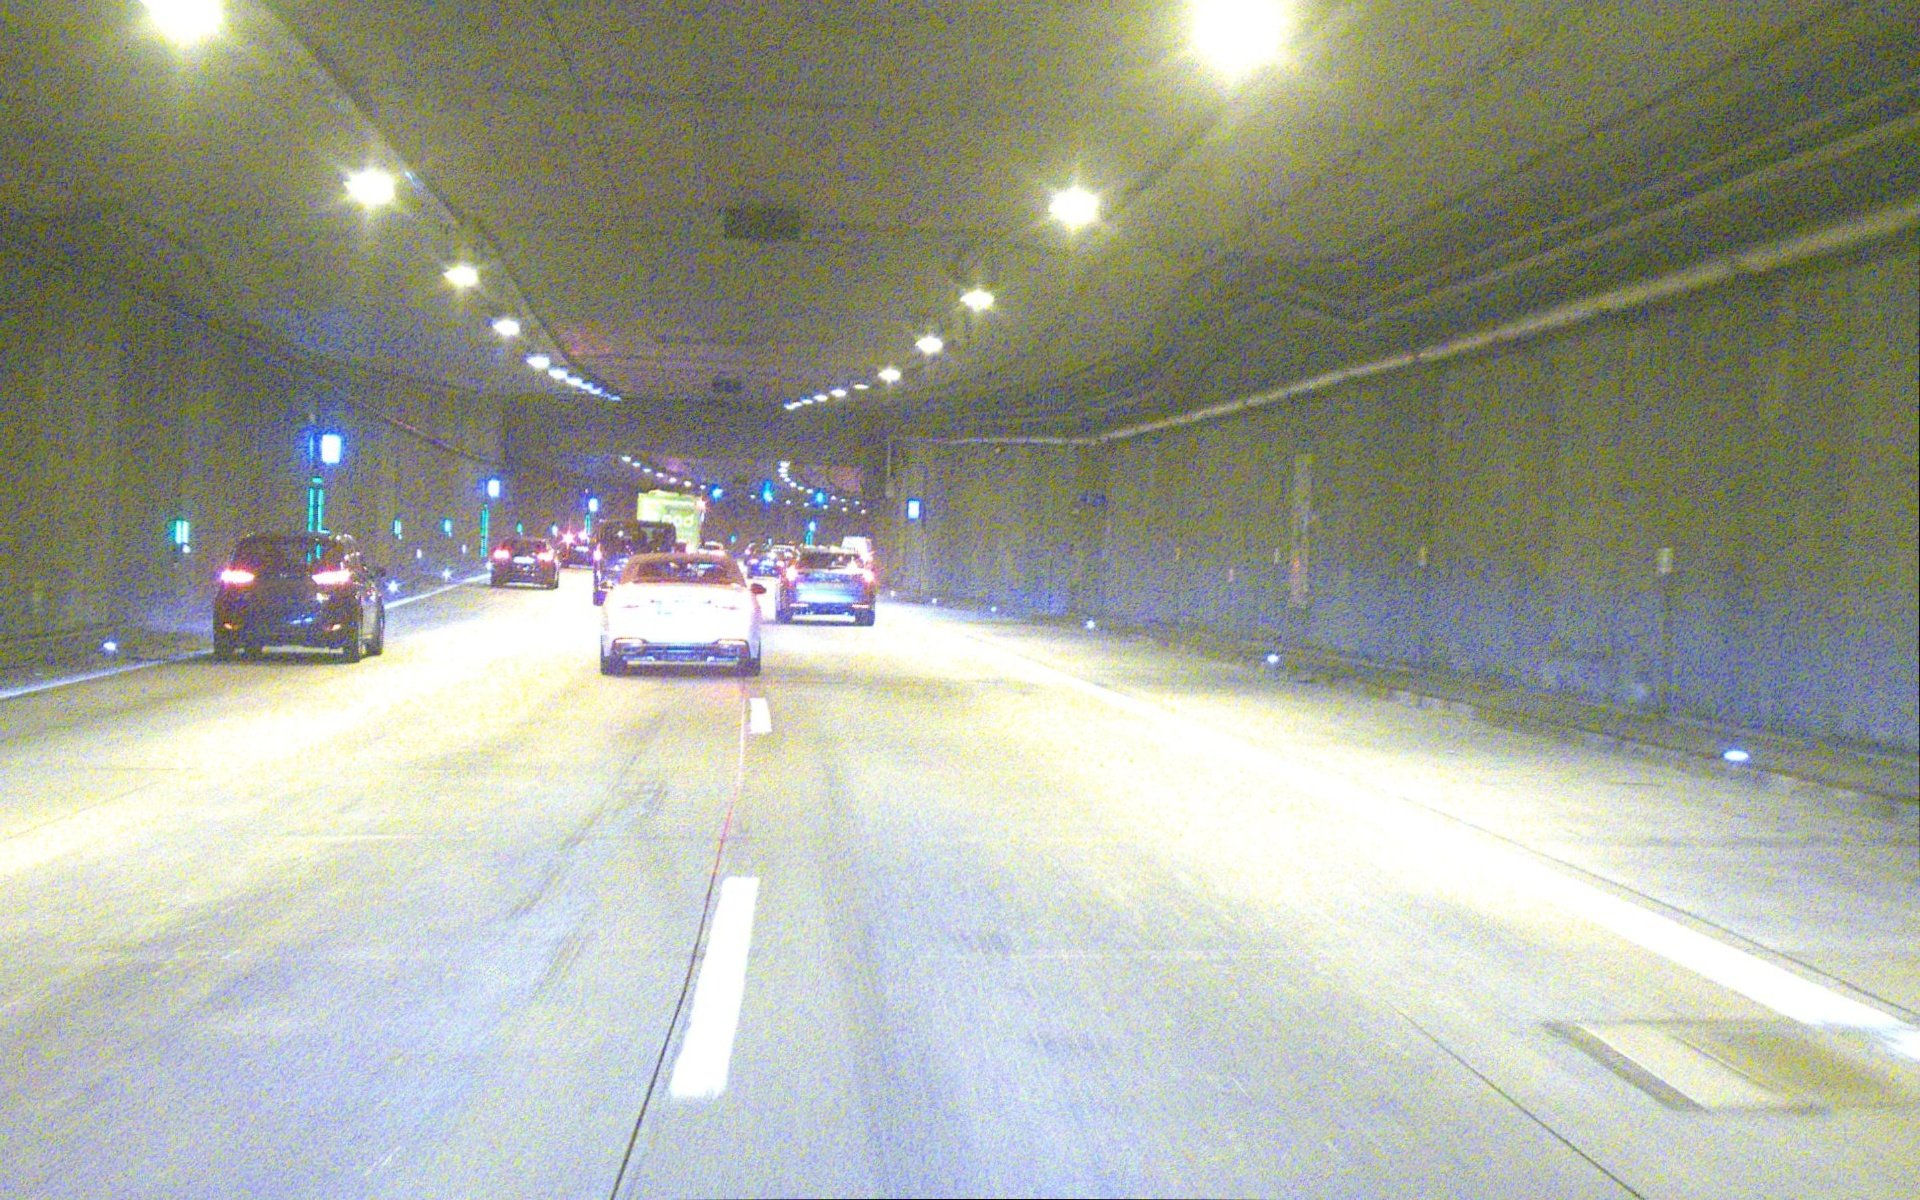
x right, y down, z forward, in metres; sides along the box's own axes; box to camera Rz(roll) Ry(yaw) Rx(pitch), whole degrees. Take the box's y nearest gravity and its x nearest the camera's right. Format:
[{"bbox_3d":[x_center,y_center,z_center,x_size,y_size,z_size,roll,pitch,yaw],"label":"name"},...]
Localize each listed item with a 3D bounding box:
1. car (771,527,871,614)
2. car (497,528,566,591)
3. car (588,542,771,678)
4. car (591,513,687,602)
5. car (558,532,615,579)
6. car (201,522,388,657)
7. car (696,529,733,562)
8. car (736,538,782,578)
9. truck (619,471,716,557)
[{"bbox_3d":[-2.657,-0.567,65.869,1.839,1.597,4.000,1,1,-2],"label":"car"},{"bbox_3d":[-11.673,-1.102,93.784,1.800,1.678,4.001,1,1,-6],"label":"car"},{"bbox_3d":[-3.243,0.081,39.939,1.993,1.478,4.001,1,1,-4],"label":"car"},{"bbox_3d":[-7.246,-0.957,77.972,1.993,1.965,4.000,0,0,-3],"label":"car"},{"bbox_3d":[-15.312,-1.807,141.119,2.001,1.853,4.288,-1,0,-2],"label":"car"},{"bbox_3d":[-8.204,-0.155,42.654,1.785,1.593,3.802,0,1,-3],"label":"car"},{"bbox_3d":[-13.398,-2.952,187.883,1.993,1.748,4.001,1,0,-4],"label":"car"},{"bbox_3d":[-9.067,-1.884,154.905,1.993,1.748,4.001,1,0,-4],"label":"car"},{"bbox_3d":[-11.200,-3.343,132.374,3.082,3.102,10.030,1,2,-2],"label":"truck"}]
